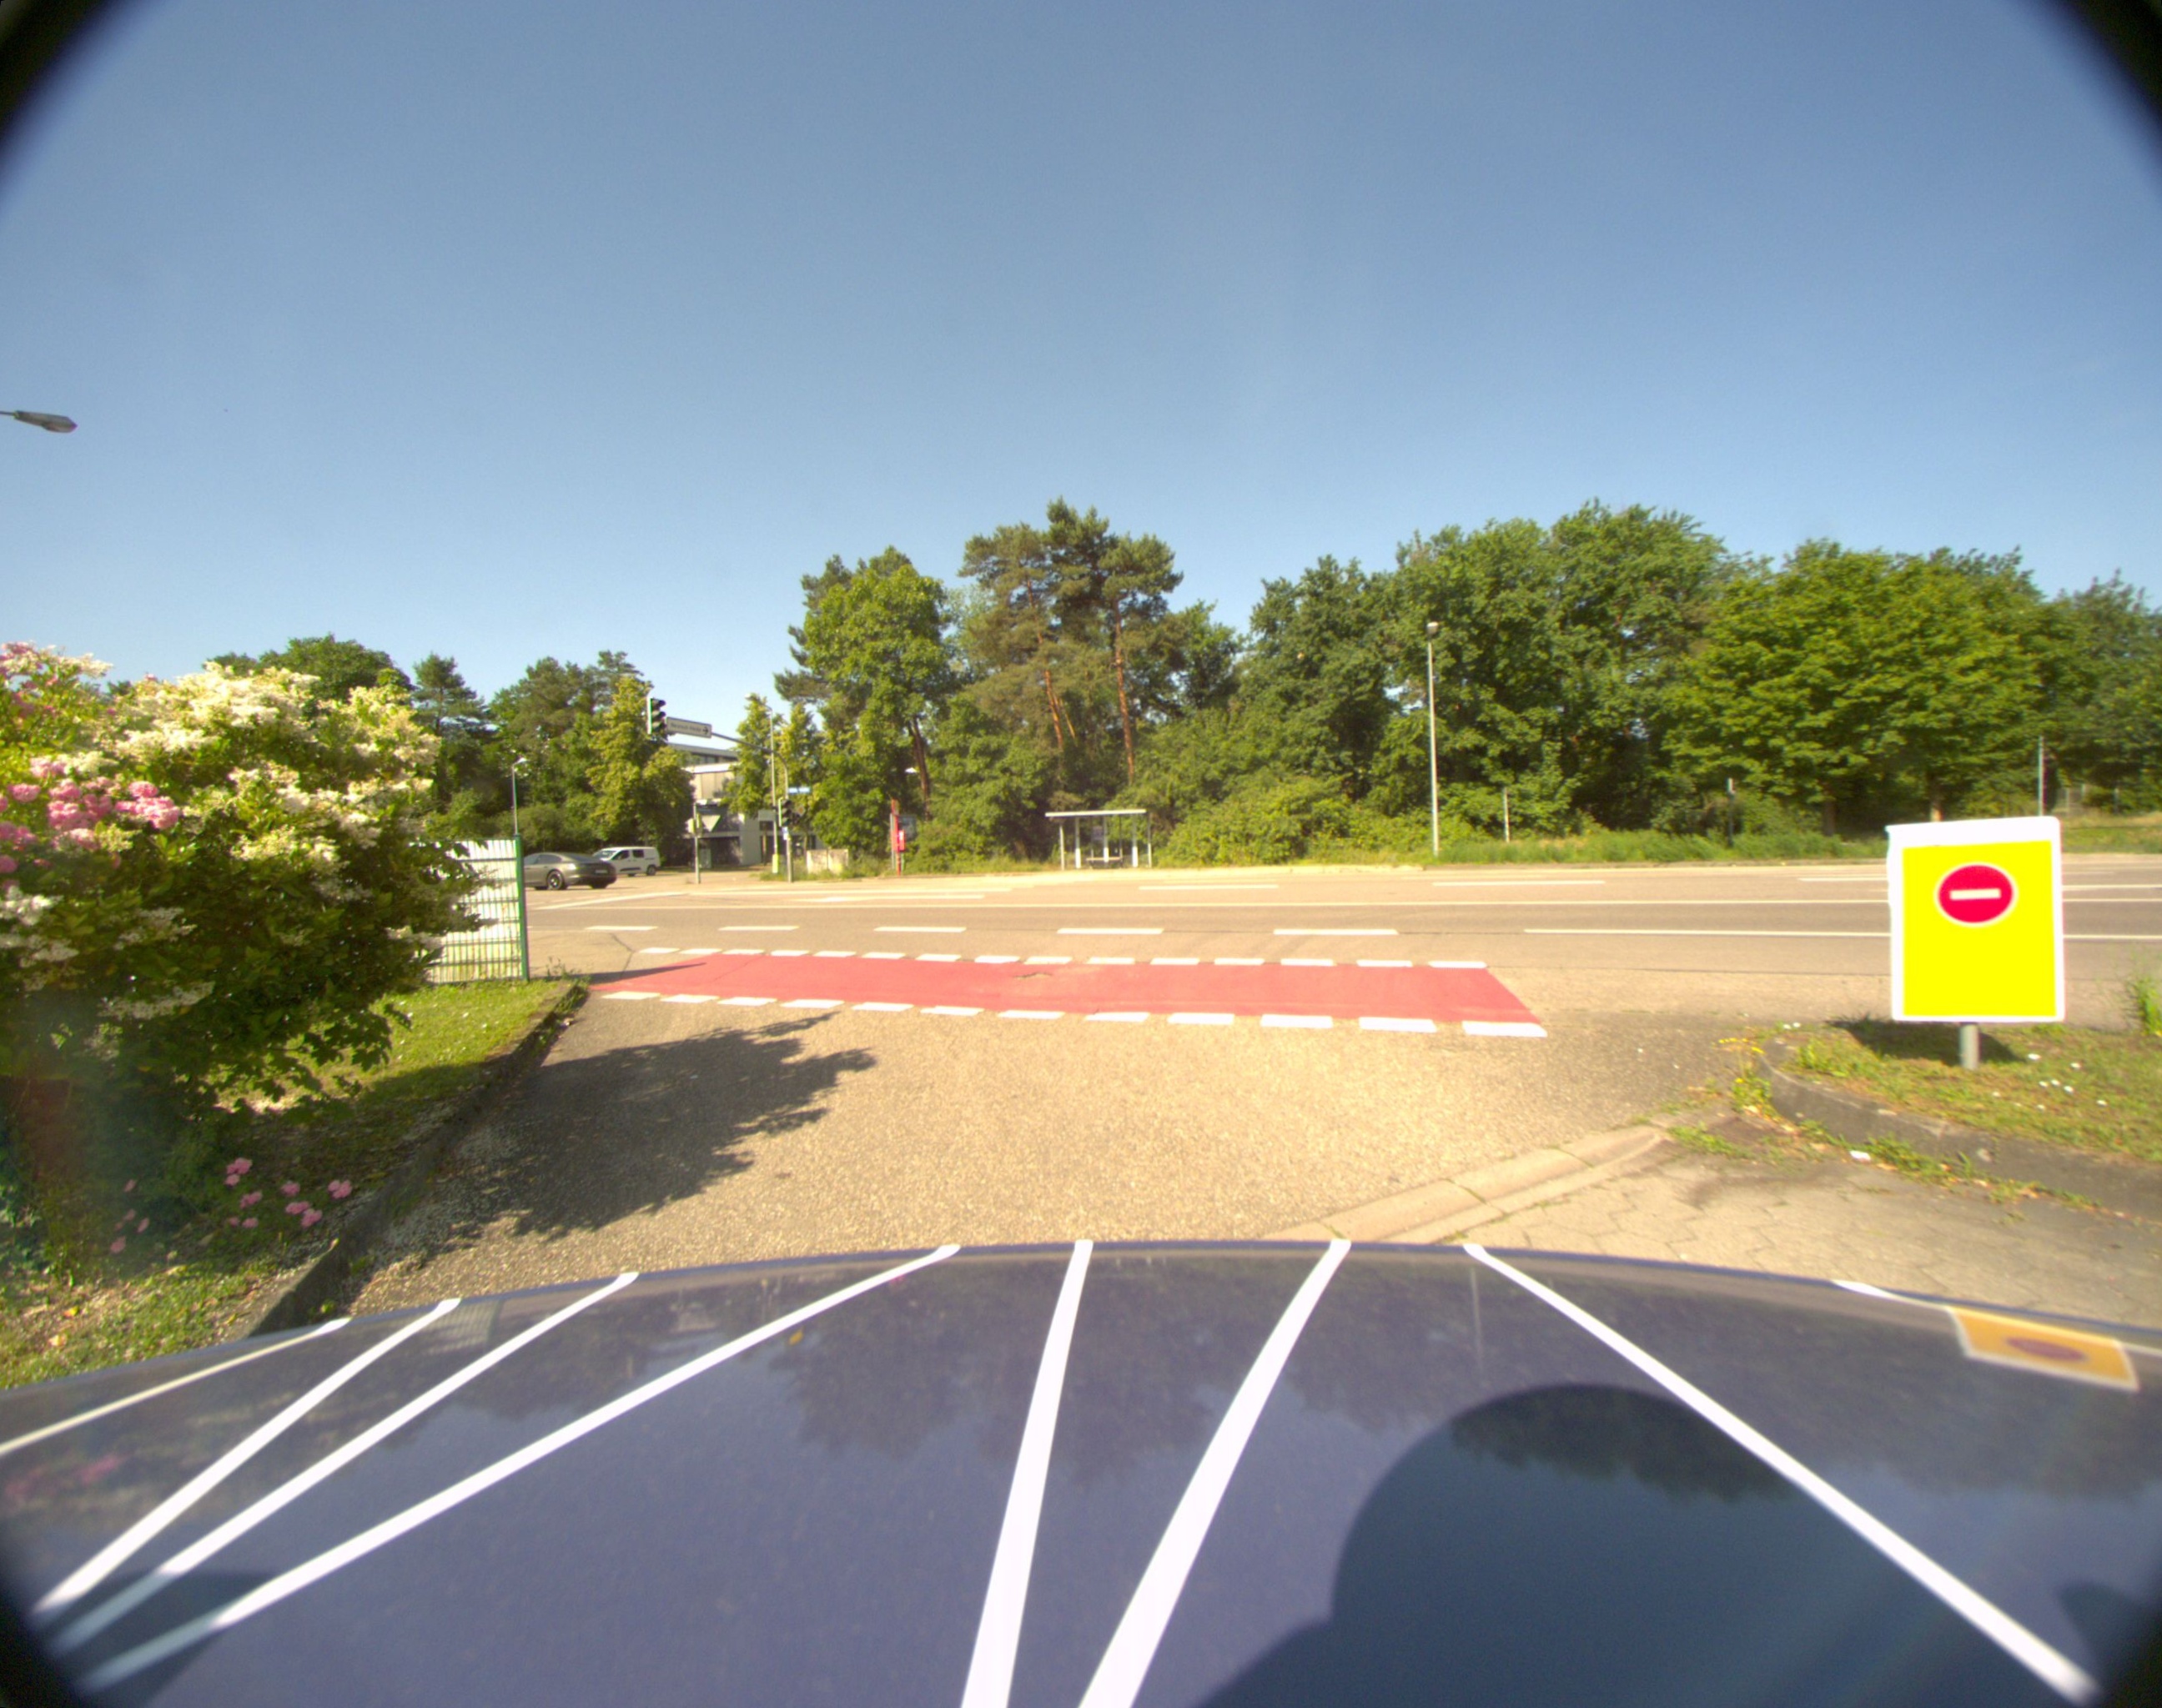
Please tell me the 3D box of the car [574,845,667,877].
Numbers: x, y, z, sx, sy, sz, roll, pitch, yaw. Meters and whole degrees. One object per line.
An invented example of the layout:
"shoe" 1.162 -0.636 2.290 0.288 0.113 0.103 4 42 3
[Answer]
"car" -27.436 0.407 45.468 1.848 1.768 4.667 -1 1 18

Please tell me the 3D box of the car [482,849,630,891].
"car" -19.578 0.600 28.358 4.901 1.487 1.855 -1 0 17
